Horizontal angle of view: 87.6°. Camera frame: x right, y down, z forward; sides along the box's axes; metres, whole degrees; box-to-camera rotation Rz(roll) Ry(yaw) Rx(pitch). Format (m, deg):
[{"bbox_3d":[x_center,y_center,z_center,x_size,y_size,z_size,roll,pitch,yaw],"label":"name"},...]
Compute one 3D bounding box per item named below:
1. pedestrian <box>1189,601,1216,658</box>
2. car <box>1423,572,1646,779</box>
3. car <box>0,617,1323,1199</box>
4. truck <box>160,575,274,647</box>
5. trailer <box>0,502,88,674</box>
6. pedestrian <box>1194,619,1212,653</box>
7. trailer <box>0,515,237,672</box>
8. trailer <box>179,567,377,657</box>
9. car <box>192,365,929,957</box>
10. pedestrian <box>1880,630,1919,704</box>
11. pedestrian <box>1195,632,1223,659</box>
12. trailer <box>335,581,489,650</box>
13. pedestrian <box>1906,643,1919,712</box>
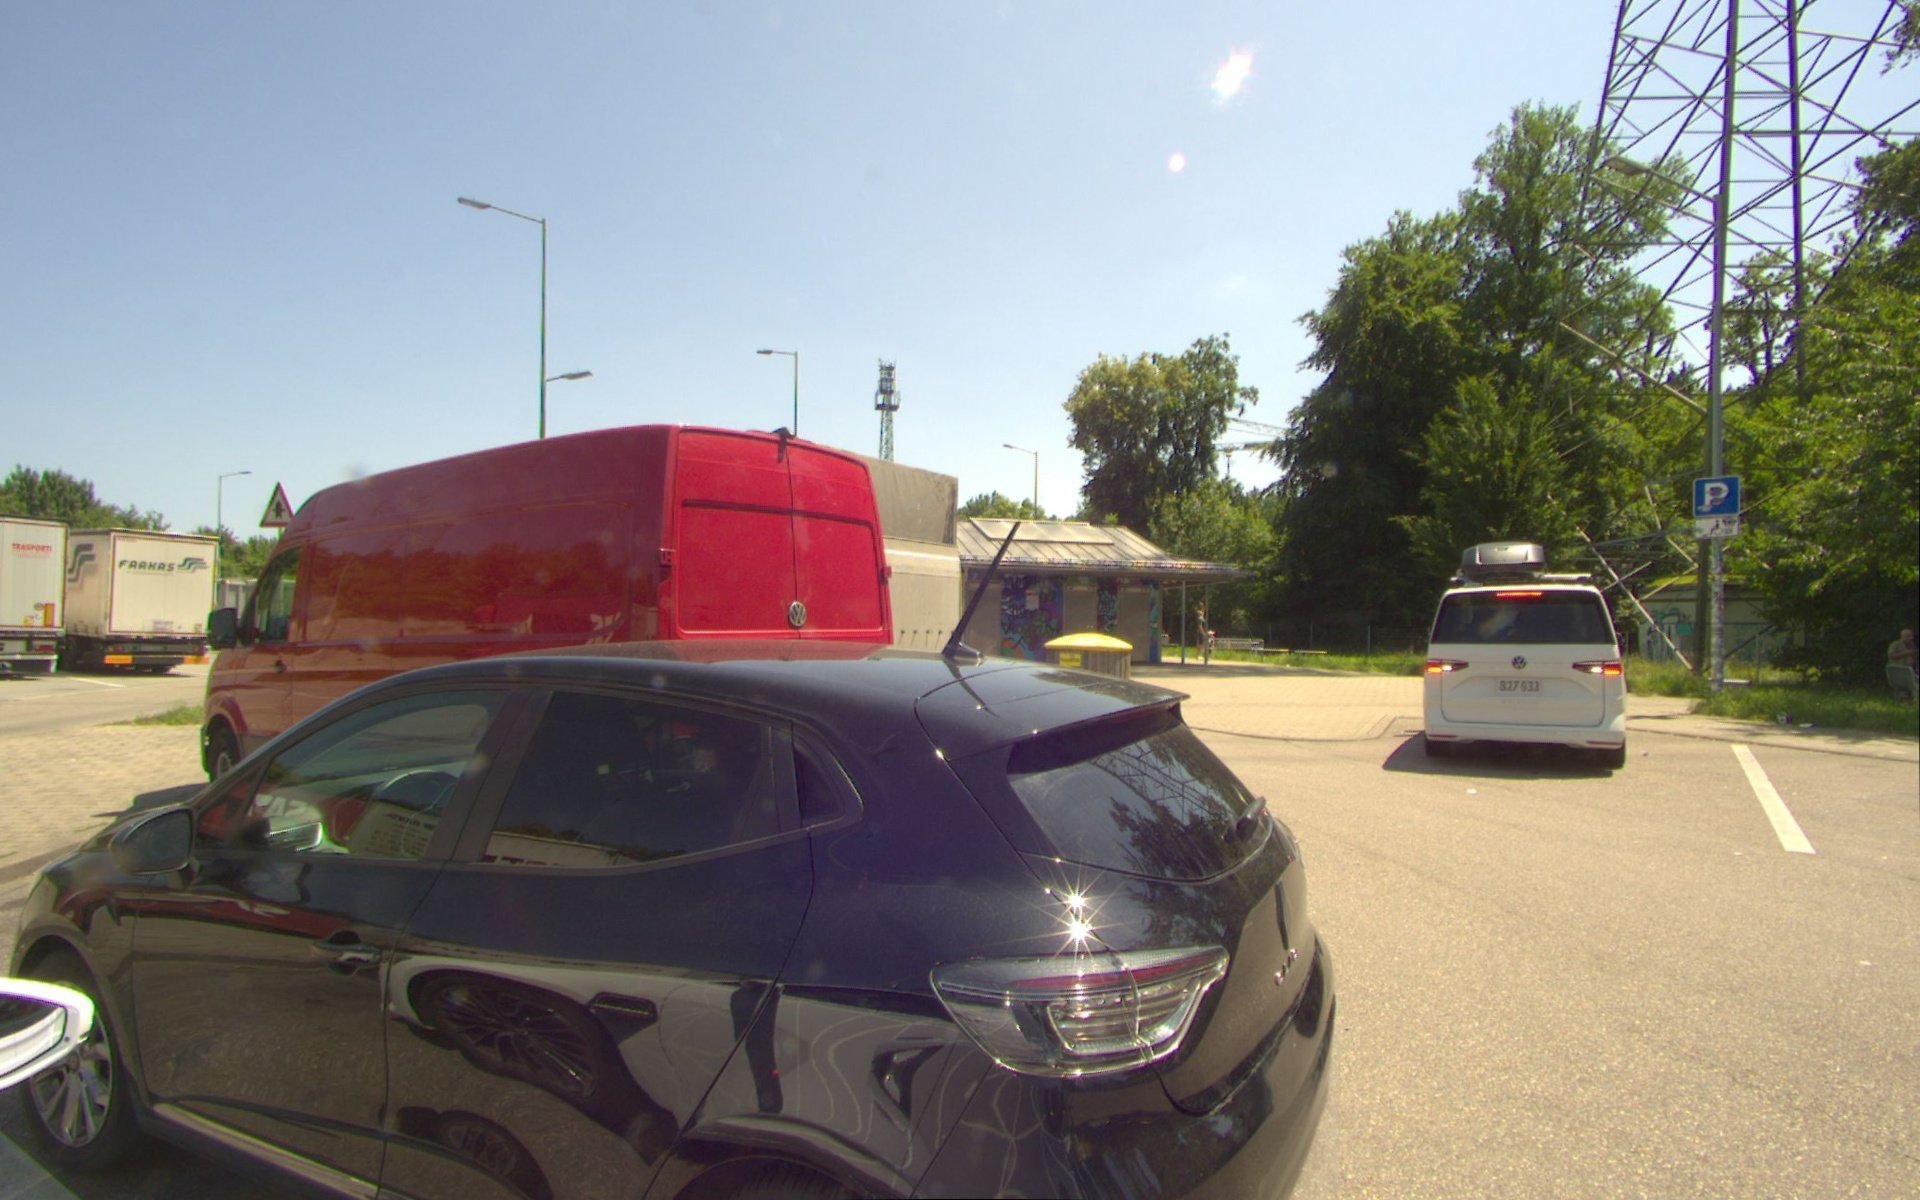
[{"bbox_3d":[8.938,1.097,36.910,0.764,2.067,0.645,0,-1,-15],"label":"pedestrian"},{"bbox_3d":[6.543,0.763,11.841,1.881,1.937,4.549,-1,-1,26],"label":"car"},{"bbox_3d":[-1.042,0.831,2.906,3.757,1.501,1.736,0,-1,27],"label":"car"},{"bbox_3d":[-37.669,0.567,50.743,5.405,3.407,2.847,1,-2,34],"label":"truck"},{"bbox_3d":[-28.946,-0.371,28.152,13.523,4.185,2.835,1,-2,33],"label":"trailer"},{"bbox_3d":[11.018,1.644,45.459,0.633,1.547,0.565,0,-1,-7],"label":"pedestrian"},{"bbox_3d":[-27.637,-0.193,31.632,13.523,4.185,2.835,1,-2,33],"label":"trailer"},{"bbox_3d":[-32.360,0.482,47.144,13.530,3.764,2.834,1,-2,34],"label":"trailer"},{"bbox_3d":[-3.334,0.306,7.357,6.310,2.731,2.060,0,-1,37],"label":"car"},{"bbox_3d":[18.548,1.307,19.617,0.660,1.422,0.647,-1,-1,33],"label":"pedestrian"},{"bbox_3d":[8.865,1.606,35.689,0.764,0.960,0.645,0,-1,-15],"label":"pedestrian"},{"bbox_3d":[-36.022,0.913,65.437,13.530,4.101,2.833,1,-2,34],"label":"trailer"},{"bbox_3d":[17.212,1.347,17.474,0.876,1.192,0.666,-1,-2,32],"label":"pedestrian"}]
